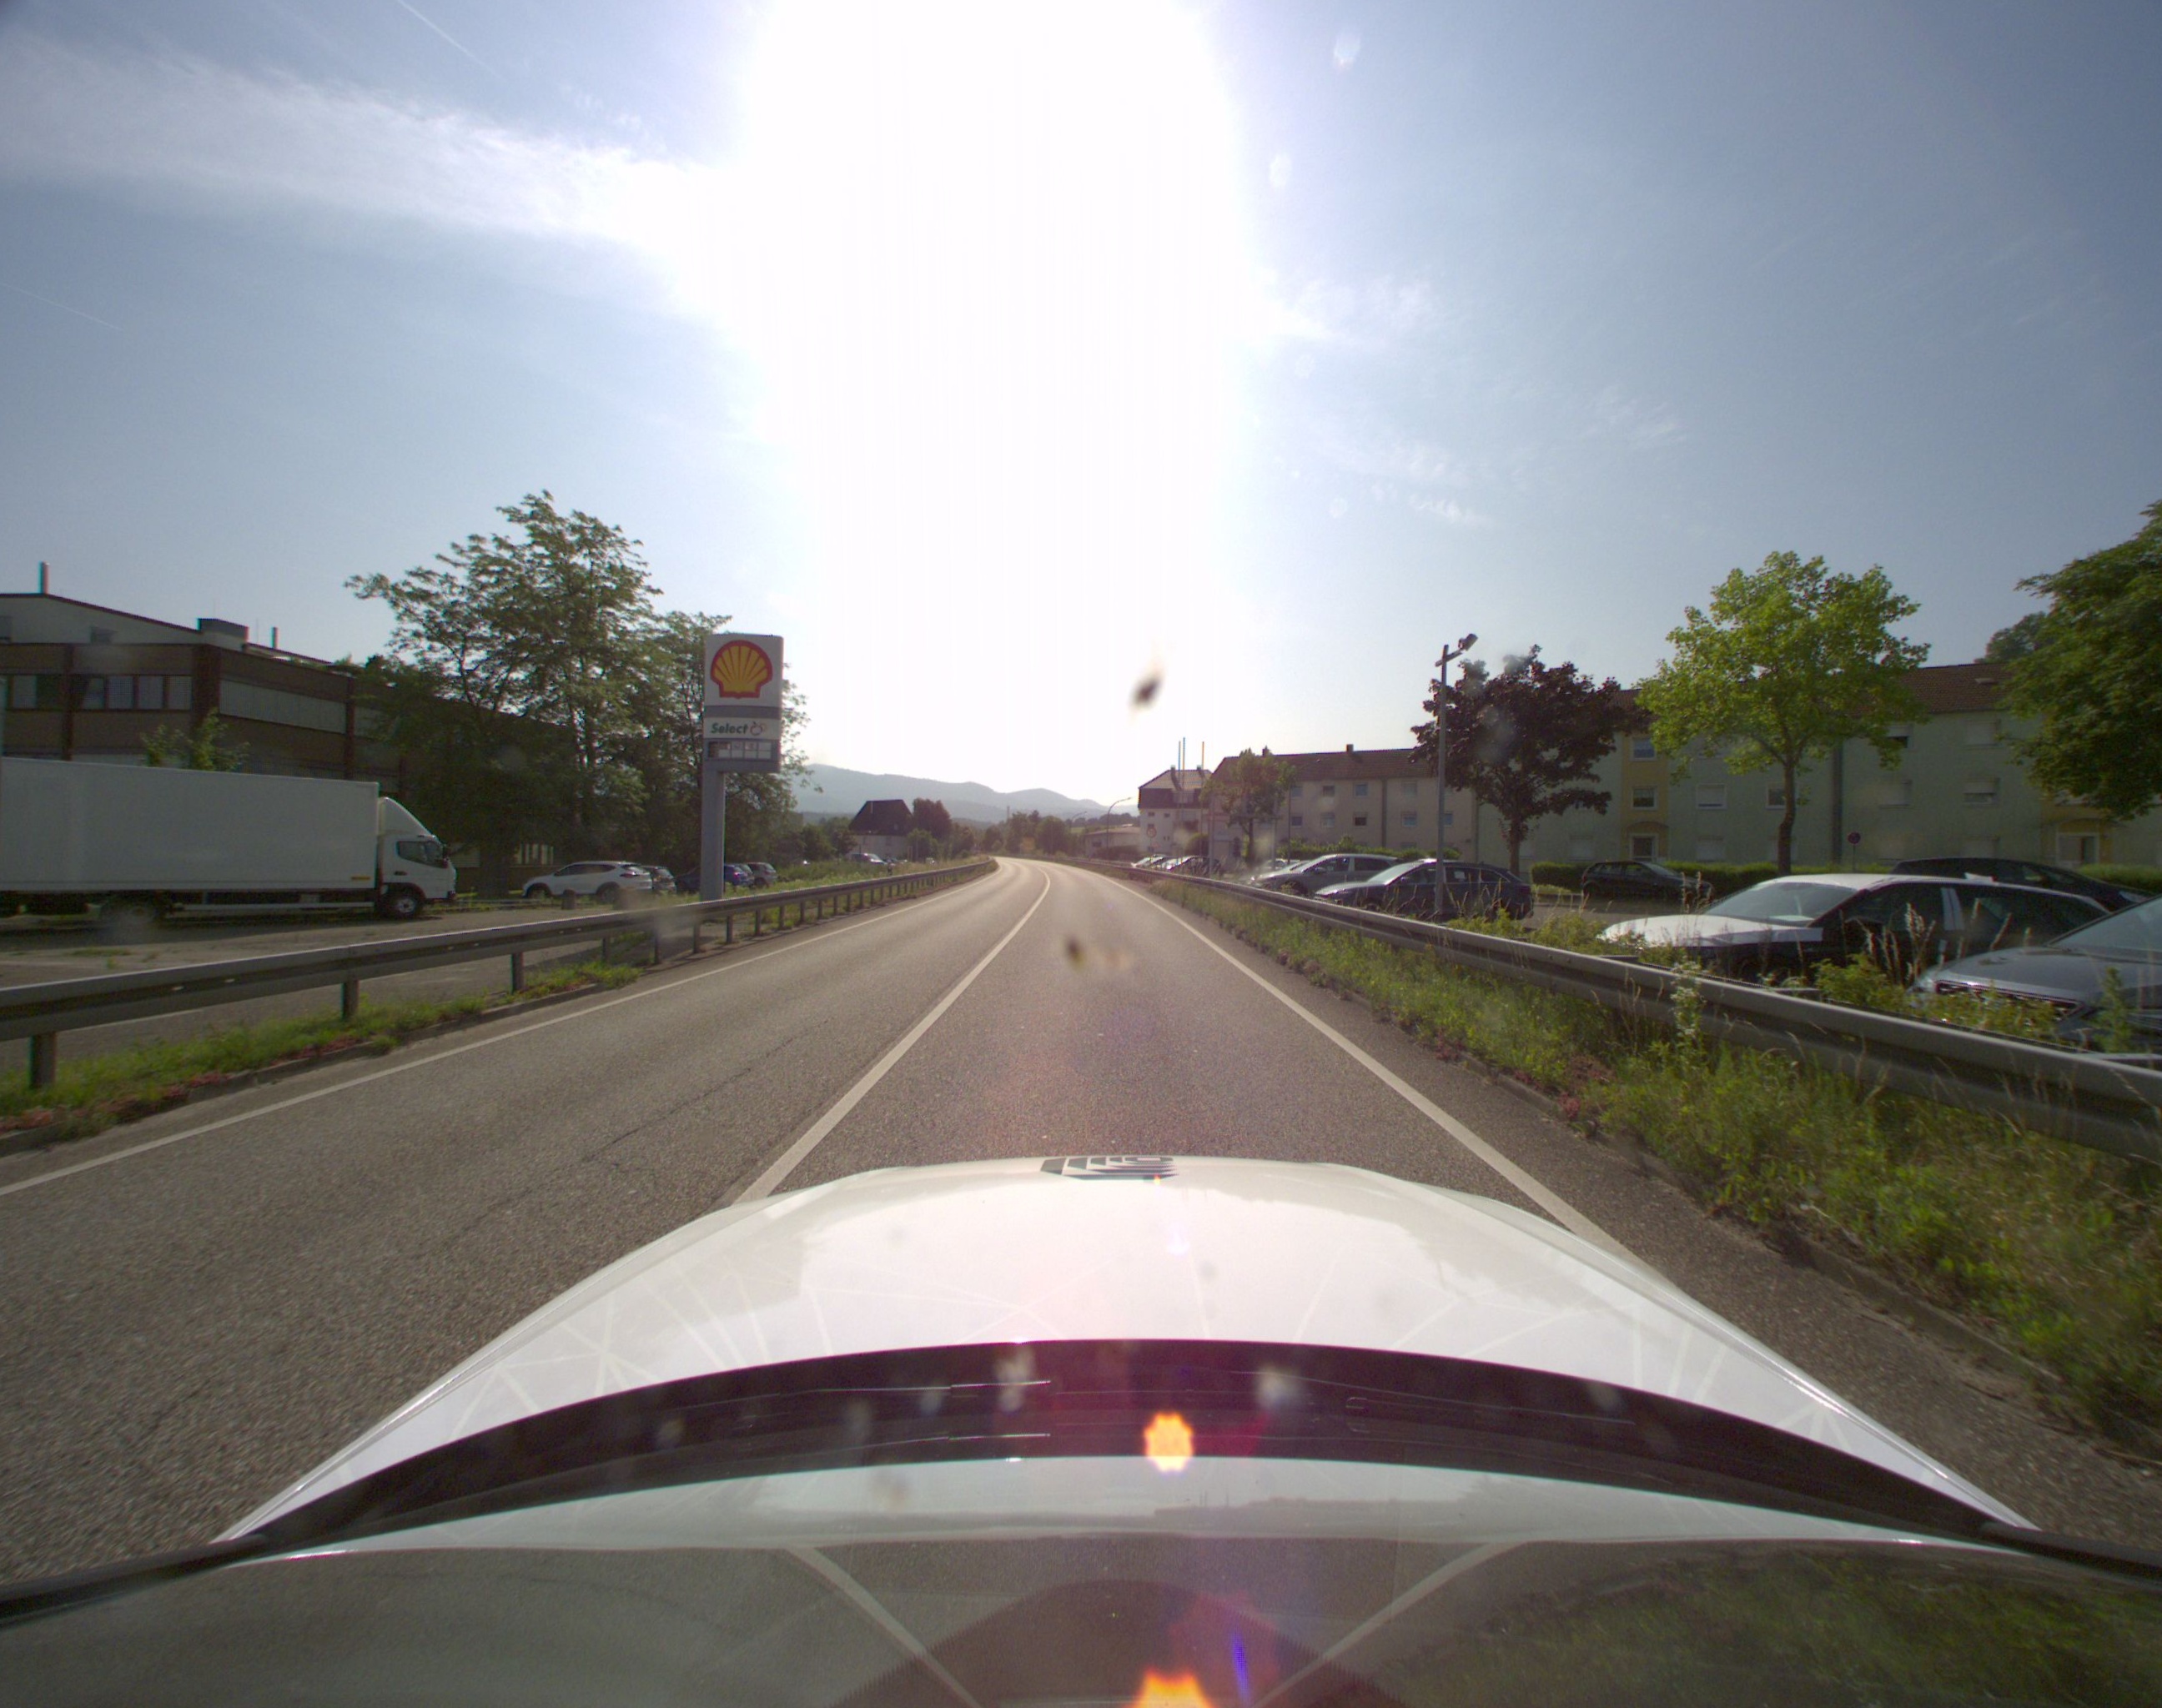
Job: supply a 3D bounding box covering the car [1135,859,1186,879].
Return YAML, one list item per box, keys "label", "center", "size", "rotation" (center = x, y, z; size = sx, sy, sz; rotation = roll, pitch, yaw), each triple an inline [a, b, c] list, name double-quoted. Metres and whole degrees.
- label: "car"
  center: [5.747, 1.092, 59.004]
  size: [3.268, 1.376, 1.541]
  rotation: [2, -2, -15]

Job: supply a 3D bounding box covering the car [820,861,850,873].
- label: "car"
  center: [-39.098, 2.054, 129.449]
  size: [4.138, 1.634, 1.864]
  rotation: [3, -2, 5]

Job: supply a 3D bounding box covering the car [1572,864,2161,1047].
- label: "car"
  center: [7.166, 0.871, 7.736]
  size: [3.971, 1.521, 1.698]
  rotation: [0, -1, 2]

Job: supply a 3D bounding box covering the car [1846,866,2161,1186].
- label: "car"
  center: [7.323, 0.861, 4.828]
  size: [3.832, 1.568, 1.808]
  rotation: [0, -1, 2]

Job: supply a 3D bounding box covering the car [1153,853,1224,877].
- label: "car"
  center: [6.633, 0.675, 50.390]
  size: [4.069, 1.452, 1.718]
  rotation: [0, -1, -19]

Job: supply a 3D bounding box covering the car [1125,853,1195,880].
- label: "car"
  center: [5.344, 0.839, 55.105]
  size: [4.240, 1.572, 1.908]
  rotation: [4, -2, -15]

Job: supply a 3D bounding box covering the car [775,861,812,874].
- label: "car"
  center: [-40.846, 1.924, 115.925]
  size: [4.541, 1.634, 1.862]
  rotation: [1, -2, 1]

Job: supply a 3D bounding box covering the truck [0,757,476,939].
- label: "truck"
  center: [-19.820, -0.101, 19.379]
  size: [2.771, 3.557, 8.262]
  rotation: [1, 0, 41]

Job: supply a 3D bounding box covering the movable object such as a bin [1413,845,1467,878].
- label: "movable object such as a bin"
  center: [27.488, 0.576, 62.406]
  size: [3.488, 2.358, 1.595]
  rotation: [0, -4, 40]

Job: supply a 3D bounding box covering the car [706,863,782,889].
- label: "car"
  center: [-20.109, 1.298, 48.715]
  size: [3.738, 1.460, 1.860]
  rotation: [0, -1, -3]

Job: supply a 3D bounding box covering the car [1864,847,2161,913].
- label: "car"
  center: [22.423, 0.578, 19.809]
  size: [1.916, 1.405, 4.491]
  rotation: [0, -1, -22]

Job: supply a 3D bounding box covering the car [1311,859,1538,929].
- label: "car"
  center: [7.427, 0.844, 17.875]
  size: [4.307, 1.444, 1.628]
  rotation: [0, -1, -1]

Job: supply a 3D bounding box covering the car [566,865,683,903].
- label: "car"
  center: [-18.901, 1.238, 33.861]
  size: [3.741, 1.499, 1.929]
  rotation: [1, -1, -5]

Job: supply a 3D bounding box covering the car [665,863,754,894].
- label: "car"
  center: [-19.386, 1.267, 42.617]
  size: [3.738, 1.499, 1.930]
  rotation: [1, -1, -3]

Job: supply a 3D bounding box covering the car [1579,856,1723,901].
- label: "car"
  center: [18.937, 0.776, 27.250]
  size: [1.658, 1.366, 3.635]
  rotation: [0, -1, -22]

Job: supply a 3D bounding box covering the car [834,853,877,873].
- label: "car"
  center: [-23.350, 0.869, 84.314]
  size: [4.843, 2.013, 2.012]
  rotation: [0, 0, 42]

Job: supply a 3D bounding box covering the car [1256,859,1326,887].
- label: "car"
  center: [11.674, 1.007, 45.647]
  size: [1.788, 1.420, 4.413]
  rotation: [0, 0, -17]

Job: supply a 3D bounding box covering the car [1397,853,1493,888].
- label: "car"
  center: [15.732, 0.692, 35.393]
  size: [1.711, 1.405, 3.635]
  rotation: [0, 0, -22]

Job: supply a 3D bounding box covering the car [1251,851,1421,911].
- label: "car"
  center: [7.261, 0.762, 23.590]
  size: [4.302, 1.640, 2.141]
  rotation: [0, -1, 2]

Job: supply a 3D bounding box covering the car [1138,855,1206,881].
- label: "car"
  center: [5.888, 0.891, 52.682]
  size: [3.990, 1.450, 1.757]
  rotation: [4, -1, -13]

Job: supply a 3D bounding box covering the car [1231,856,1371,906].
- label: "car"
  center: [7.115, 0.850, 26.668]
  size: [4.132, 1.483, 1.884]
  rotation: [1, -1, 3]

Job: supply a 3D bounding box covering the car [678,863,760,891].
- label: "car"
  center: [-20.206, 1.256, 45.567]
  size: [3.730, 1.499, 1.860]
  rotation: [1, -1, 4]

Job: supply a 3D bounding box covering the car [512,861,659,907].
- label: "car"
  center: [-18.829, 1.121, 31.110]
  size: [4.343, 1.655, 1.929]
  rotation: [1, -1, -5]
